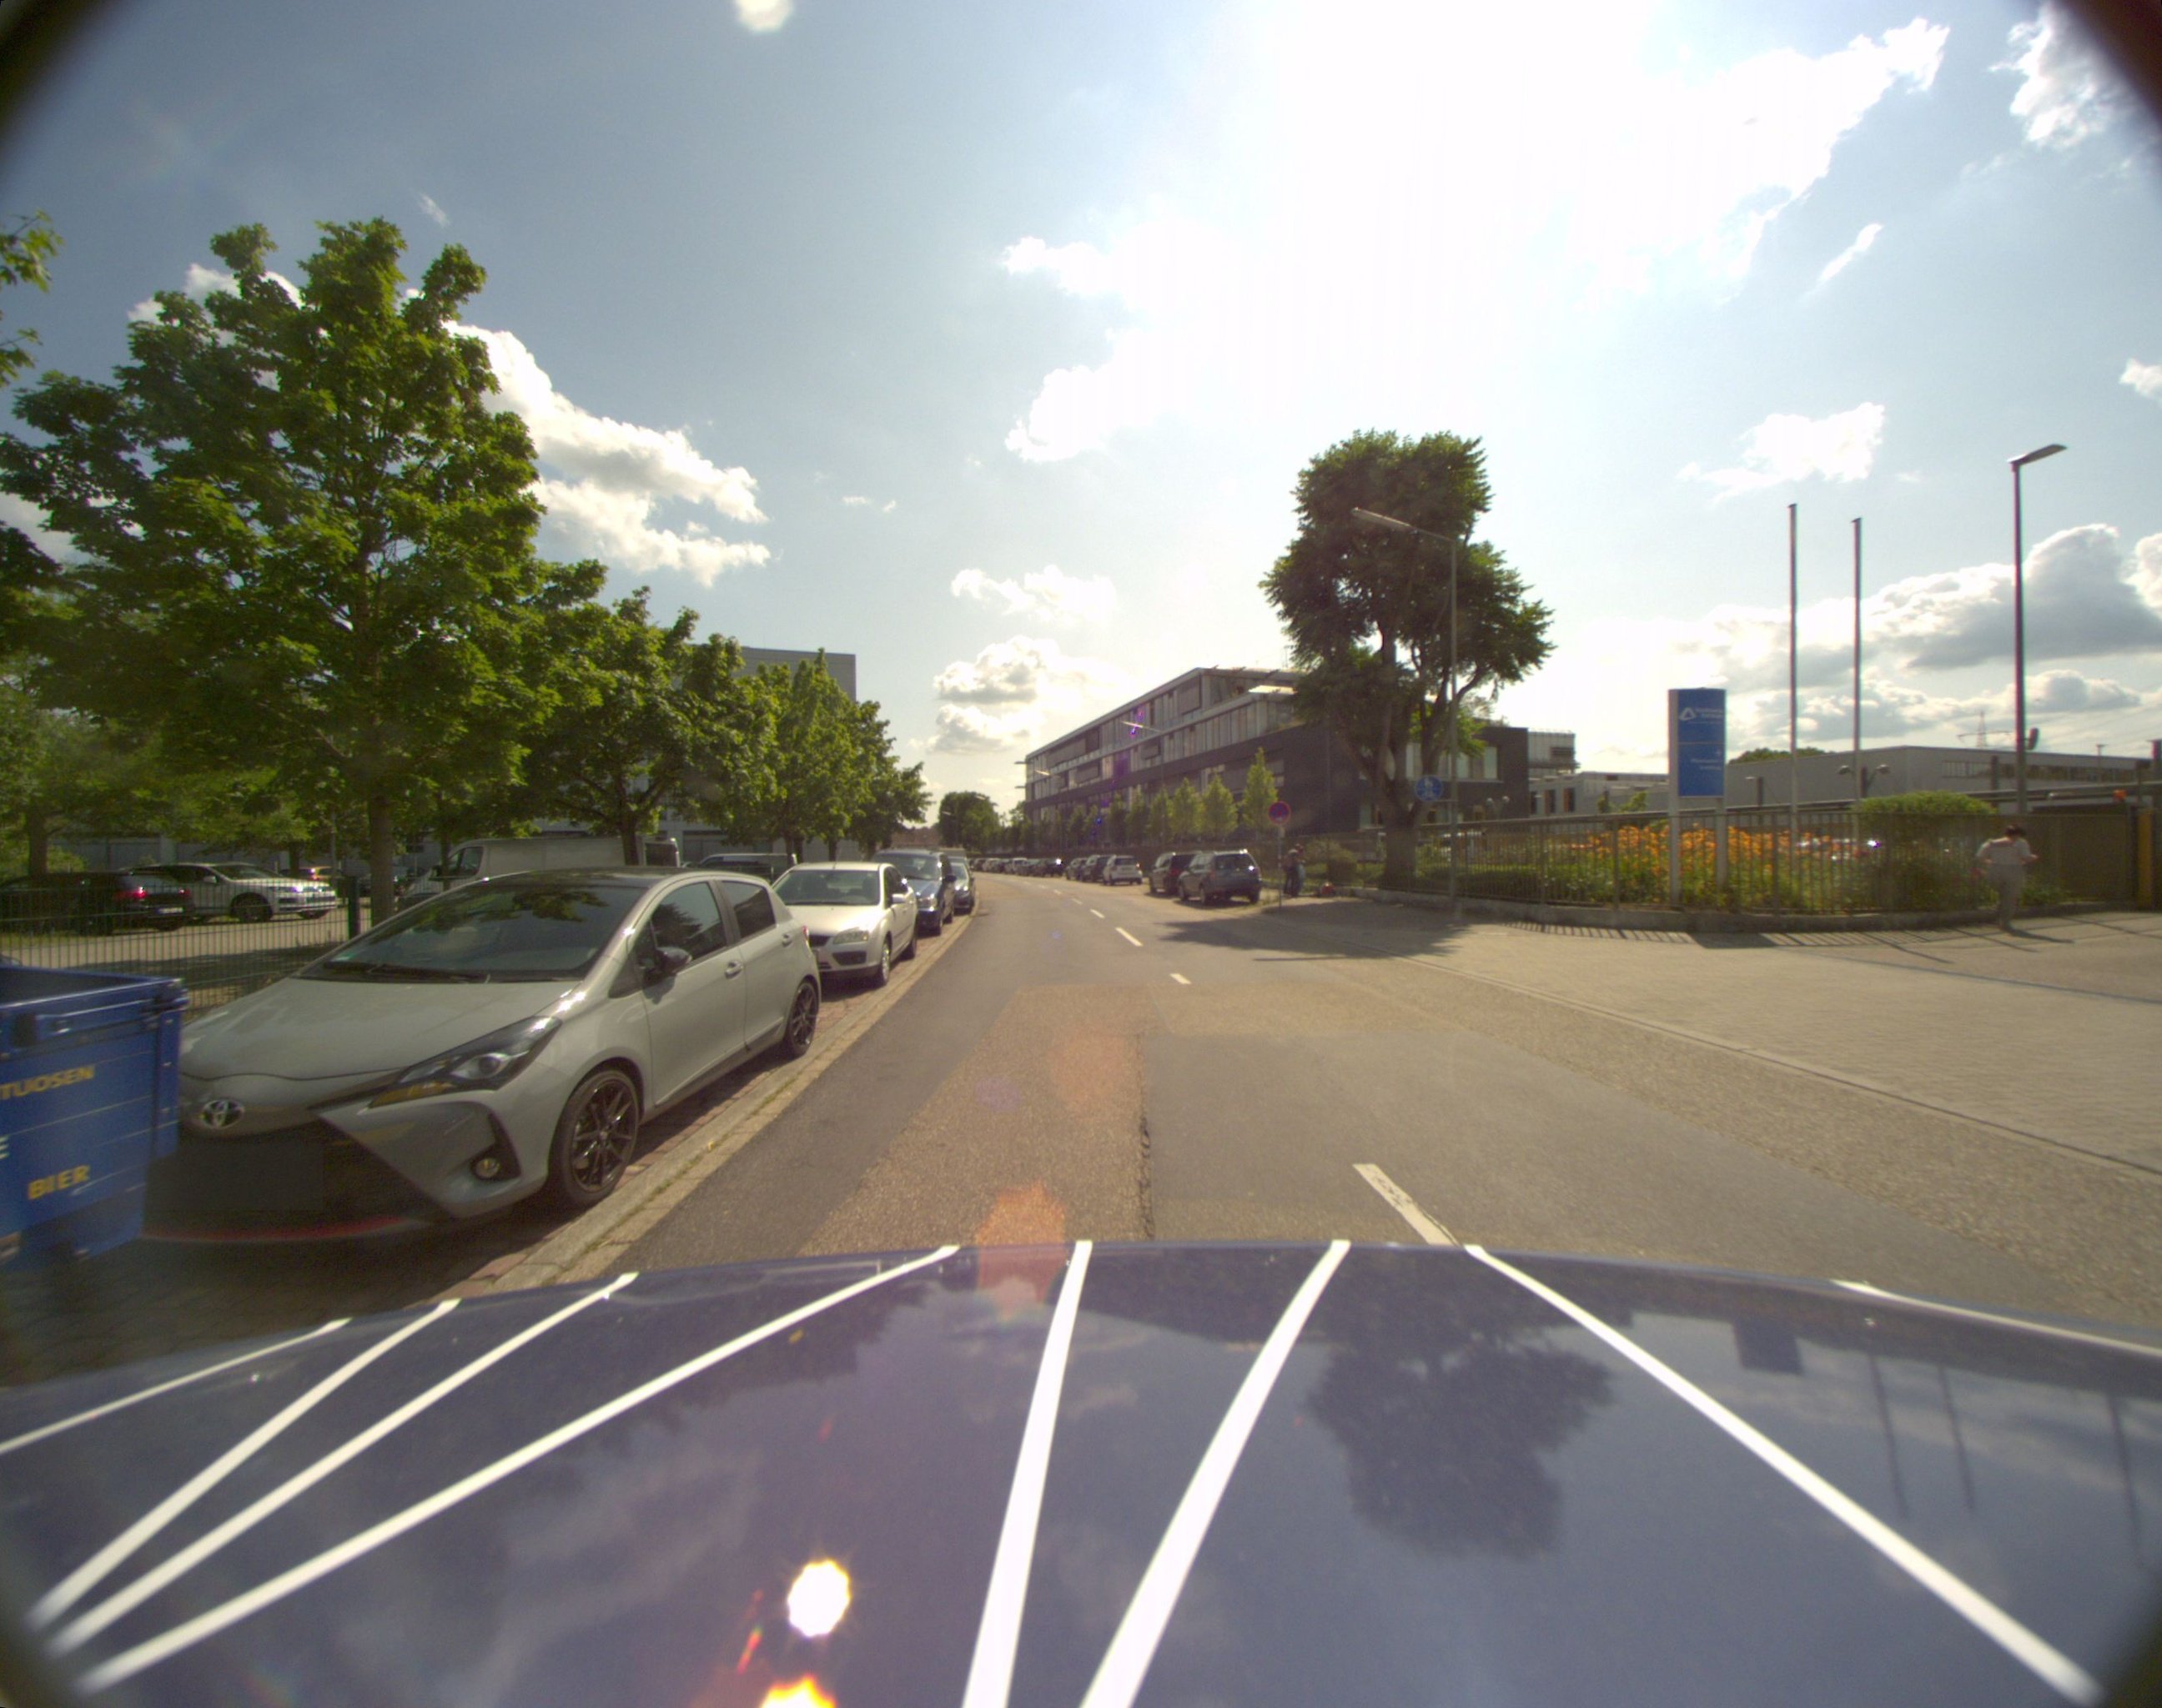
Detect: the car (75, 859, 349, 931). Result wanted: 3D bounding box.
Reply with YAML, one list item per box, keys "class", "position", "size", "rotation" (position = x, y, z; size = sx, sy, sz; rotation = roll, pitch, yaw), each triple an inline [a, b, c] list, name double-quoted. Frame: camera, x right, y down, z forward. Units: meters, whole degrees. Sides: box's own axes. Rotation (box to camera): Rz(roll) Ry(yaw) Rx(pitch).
- class: "car"
  position: [-23.375, 1.048, 20.626]
  size: [4.865, 1.756, 1.914]
  rotation: [-1, 1, -5]

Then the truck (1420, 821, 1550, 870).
- class: "truck"
  position: [23.211, -0.489, 43.669]
  size: [6.940, 2.642, 2.401]
  rotation: [-1, 0, -18]

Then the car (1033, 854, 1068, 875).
- class: "car"
  position: [-2.456, 0.837, 60.394]
  size: [1.668, 1.521, 3.994]
  rotation: [-3, 0, -18]

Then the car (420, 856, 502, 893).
- class: "car"
  position: [-31.325, 0.985, 38.548]
  size: [1.737, 1.670, 4.526]
  rotation: [-3, 1, -19]

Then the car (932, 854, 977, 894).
- class: "car"
  position: [-5.809, 0.879, 35.130]
  size: [1.867, 1.672, 4.706]
  rotation: [1, 0, -9]

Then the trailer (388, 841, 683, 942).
- class: "trailer"
  position: [-12.222, 0.789, 17.368]
  size: [5.062, 2.070, 2.060]
  rotation: [-1, 0, -6]

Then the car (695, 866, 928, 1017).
- class: "car"
  position: [-3.296, 0.959, 10.320]
  size: [1.838, 1.484, 4.654]
  rotation: [0, 0, -5]

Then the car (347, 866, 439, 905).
- class: "car"
  position: [-33.980, 1.519, 37.687]
  size: [1.959, 1.641, 3.993]
  rotation: [-2, 1, -20]

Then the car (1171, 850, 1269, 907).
- class: "car"
  position: [4.435, 0.735, 25.050]
  size: [1.804, 1.641, 4.686]
  rotation: [-2, 0, -7]

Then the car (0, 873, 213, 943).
- class: "car"
  position: [-22.599, 1.176, 17.009]
  size: [3.999, 1.414, 1.802]
  rotation: [-1, 0, -5]

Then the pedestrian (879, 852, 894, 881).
- class: "pedestrian"
  position: [-11.370, 0.751, 44.535]
  size: [0.729, 1.636, 0.579]
  rotation: [3, -1, -12]

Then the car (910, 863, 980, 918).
- class: "car"
  position: [-4.125, 1.053, 23.682]
  size: [1.847, 1.452, 4.865]
  rotation: [1, 0, -7]

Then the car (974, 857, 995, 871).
- class: "car"
  position: [-10.889, 1.119, 85.714]
  size: [1.570, 1.506, 3.737]
  rotation: [0, 0, -19]

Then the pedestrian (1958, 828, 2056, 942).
- class: "pedestrian"
  position: [14.238, 0.452, 11.698]
  size: [0.550, 1.683, 0.732]
  rotation: [-2, 4, -17]

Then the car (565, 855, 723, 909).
- class: "car"
  position: [-15.232, 0.942, 26.718]
  size: [4.340, 1.586, 1.855]
  rotation: [-3, 1, -10]

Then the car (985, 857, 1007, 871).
- class: "car"
  position: [-9.023, 1.084, 80.310]
  size: [1.570, 1.446, 3.737]
  rotation: [0, 0, -19]

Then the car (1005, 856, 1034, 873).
- class: "car"
  position: [-5.764, 0.958, 70.627]
  size: [1.668, 1.473, 3.510]
  rotation: [-3, 1, -21]

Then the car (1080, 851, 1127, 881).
- class: "car"
  position: [1.278, 0.691, 45.359]
  size: [1.740, 1.646, 4.306]
  rotation: [-2, 0, -12]

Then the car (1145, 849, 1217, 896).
- class: "car"
  position: [3.933, 0.704, 30.461]
  size: [1.781, 1.672, 4.227]
  rotation: [-3, 0, -7]

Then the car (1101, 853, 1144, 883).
- class: "car"
  position: [2.195, 0.726, 40.845]
  size: [1.614, 1.514, 3.071]
  rotation: [-1, 0, -10]

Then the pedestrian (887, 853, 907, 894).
- class: "pedestrian"
  position: [-7.646, 0.792, 31.573]
  size: [0.723, 1.683, 0.739]
  rotation: [2, 0, -10]

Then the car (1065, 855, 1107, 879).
- class: "car"
  position: [0.291, 0.856, 50.428]
  size: [1.740, 1.437, 3.925]
  rotation: [-3, 0, -14]

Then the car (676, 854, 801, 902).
- class: "car"
  position: [-14.497, 1.004, 32.366]
  size: [4.482, 1.954, 1.999]
  rotation: [0, -1, -9]

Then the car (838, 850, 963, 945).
- class: "car"
  position: [-3.762, 0.816, 16.716]
  size: [1.855, 1.755, 5.075]
  rotation: [1, 0, -4]

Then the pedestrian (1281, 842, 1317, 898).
- class: "pedestrian"
  position: [6.832, 0.481, 23.853]
  size: [0.845, 1.682, 0.831]
  rotation: [-3, 1, 0]

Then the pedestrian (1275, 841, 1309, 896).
- class: "pedestrian"
  position: [6.927, 0.470, 24.982]
  size: [0.830, 1.751, 0.845]
  rotation: [-3, 1, -1]

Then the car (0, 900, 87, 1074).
- class: "car"
  position: [-11.617, 1.183, 6.286]
  size: [4.338, 1.487, 1.628]
  rotation: [0, 0, -4]

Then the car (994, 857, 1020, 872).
- class: "car"
  position: [-7.383, 1.003, 75.508]
  size: [1.673, 1.396, 3.993]
  rotation: [-2, 0, -19]

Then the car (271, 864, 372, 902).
- class: "car"
  position: [-36.981, 1.373, 37.134]
  size: [1.959, 1.539, 3.992]
  rotation: [-3, 2, -21]

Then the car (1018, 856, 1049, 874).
- class: "car"
  position: [-4.098, 0.913, 65.454]
  size: [1.668, 1.389, 4.099]
  rotation: [-3, 1, -18]

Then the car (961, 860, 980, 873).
- class: "car"
  position: [-13.218, 1.519, 90.751]
  size: [1.570, 1.506, 4.029]
  rotation: [0, 0, -19]

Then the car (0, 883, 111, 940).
- class: "car"
  position: [-29.500, 1.564, 20.503]
  size: [3.998, 1.366, 1.856]
  rotation: [-1, 1, -4]

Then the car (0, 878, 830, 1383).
- class: "car"
  position: [-2.983, 0.962, 4.440]
  size: [1.689, 1.486, 3.948]
  rotation: [0, 0, 0]

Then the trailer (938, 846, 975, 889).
- class: "trailer"
  position: [-6.496, 0.677, 39.422]
  size: [1.751, 2.055, 3.943]
  rotation: [2, 0, -10]

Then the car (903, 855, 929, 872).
- class: "car"
  position: [-15.857, 0.896, 72.892]
  size: [1.817, 1.495, 3.993]
  rotation: [3, -2, -21]
